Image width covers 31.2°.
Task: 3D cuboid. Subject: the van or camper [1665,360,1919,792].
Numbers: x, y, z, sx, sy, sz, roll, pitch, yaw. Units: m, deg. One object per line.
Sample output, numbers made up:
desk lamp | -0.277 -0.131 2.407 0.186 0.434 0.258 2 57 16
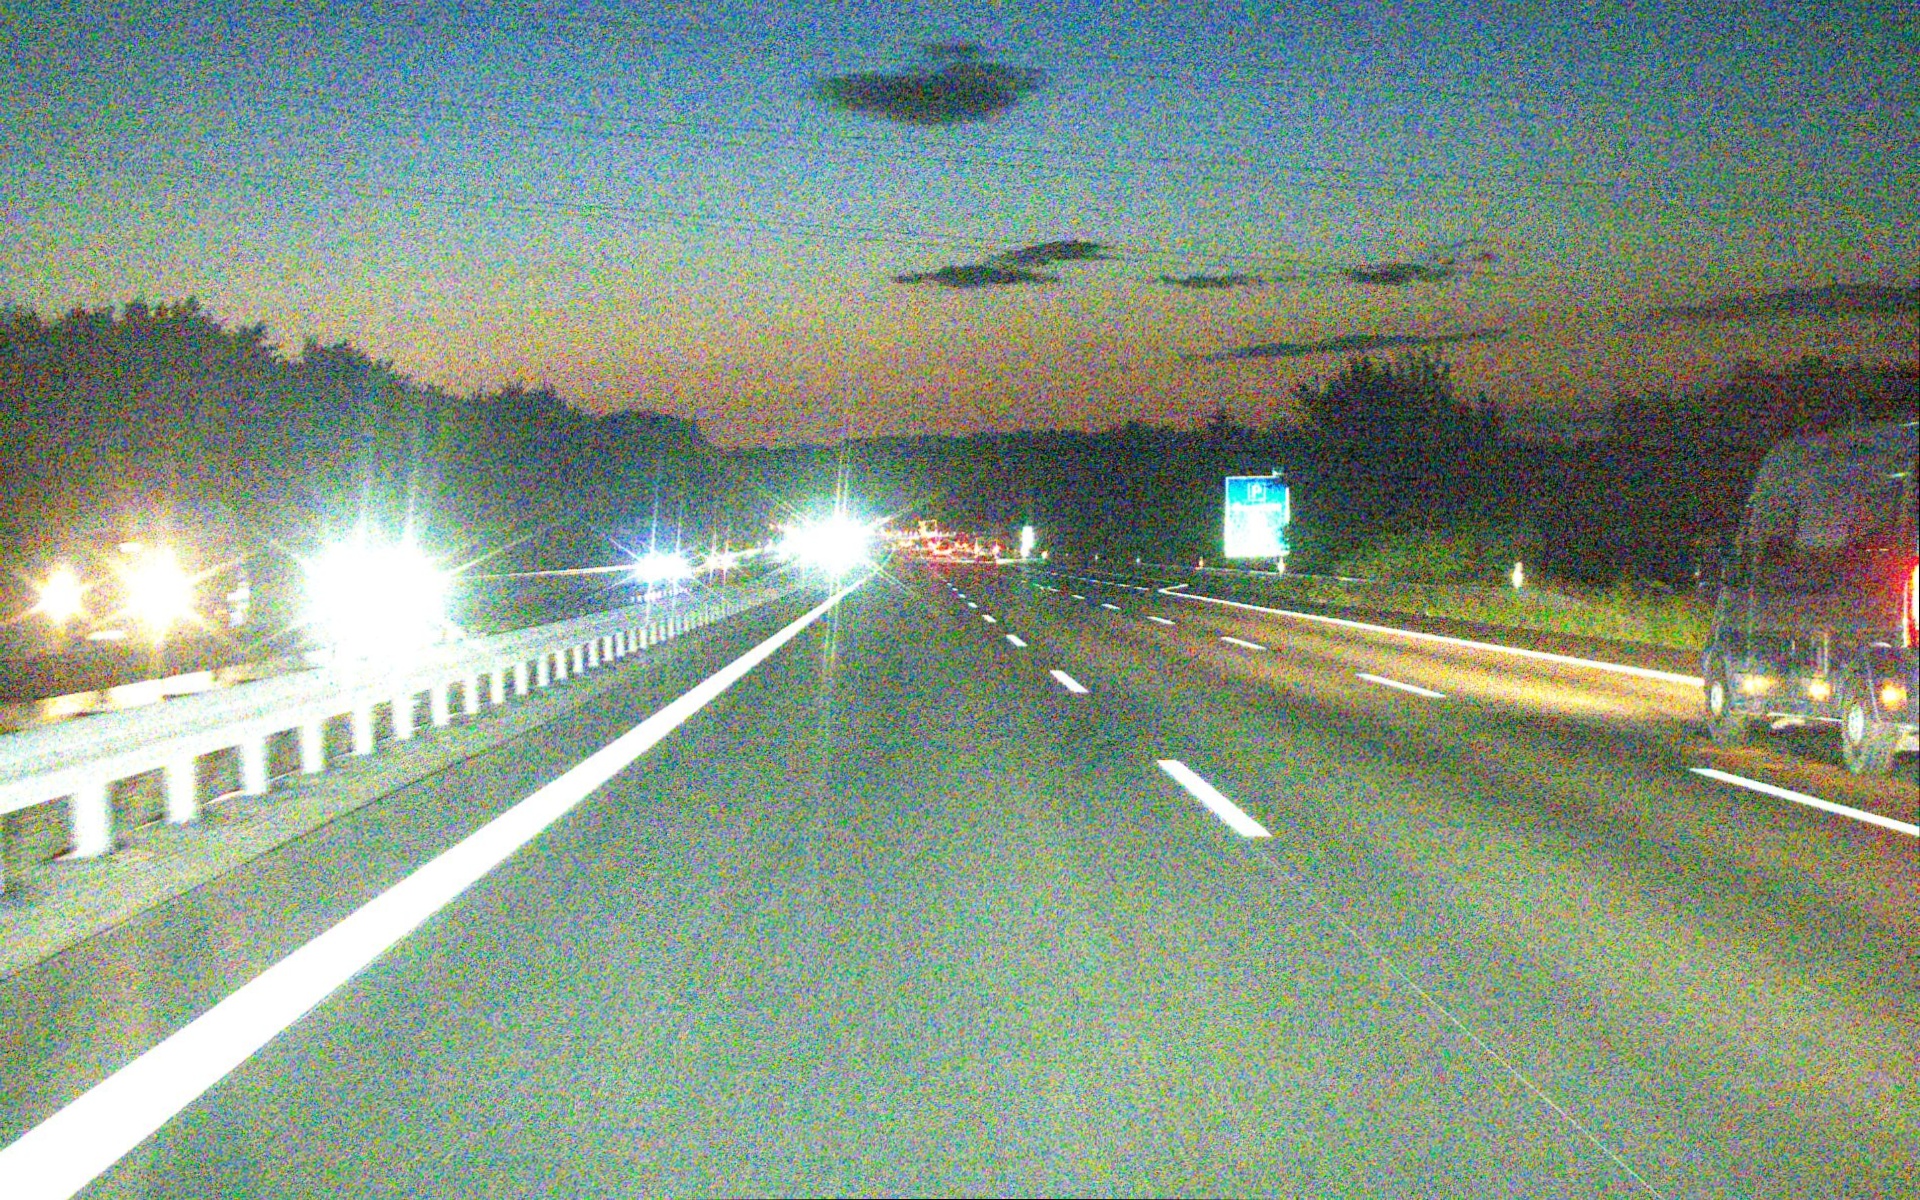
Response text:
van or camper | 7.119 -0.203 25.360 2.207 2.762 6.805 1 1 -2

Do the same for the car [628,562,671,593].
car | -16.963 -1.218 187.979 1.993 1.632 5.075 0 1 -1

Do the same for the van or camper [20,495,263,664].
van or camper | -14.045 -0.422 59.604 2.329 2.622 7.778 -3 1 -1

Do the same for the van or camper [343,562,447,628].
van or camper | -14.182 -0.151 86.554 1.779 1.436 5.103 -4 1 -1
